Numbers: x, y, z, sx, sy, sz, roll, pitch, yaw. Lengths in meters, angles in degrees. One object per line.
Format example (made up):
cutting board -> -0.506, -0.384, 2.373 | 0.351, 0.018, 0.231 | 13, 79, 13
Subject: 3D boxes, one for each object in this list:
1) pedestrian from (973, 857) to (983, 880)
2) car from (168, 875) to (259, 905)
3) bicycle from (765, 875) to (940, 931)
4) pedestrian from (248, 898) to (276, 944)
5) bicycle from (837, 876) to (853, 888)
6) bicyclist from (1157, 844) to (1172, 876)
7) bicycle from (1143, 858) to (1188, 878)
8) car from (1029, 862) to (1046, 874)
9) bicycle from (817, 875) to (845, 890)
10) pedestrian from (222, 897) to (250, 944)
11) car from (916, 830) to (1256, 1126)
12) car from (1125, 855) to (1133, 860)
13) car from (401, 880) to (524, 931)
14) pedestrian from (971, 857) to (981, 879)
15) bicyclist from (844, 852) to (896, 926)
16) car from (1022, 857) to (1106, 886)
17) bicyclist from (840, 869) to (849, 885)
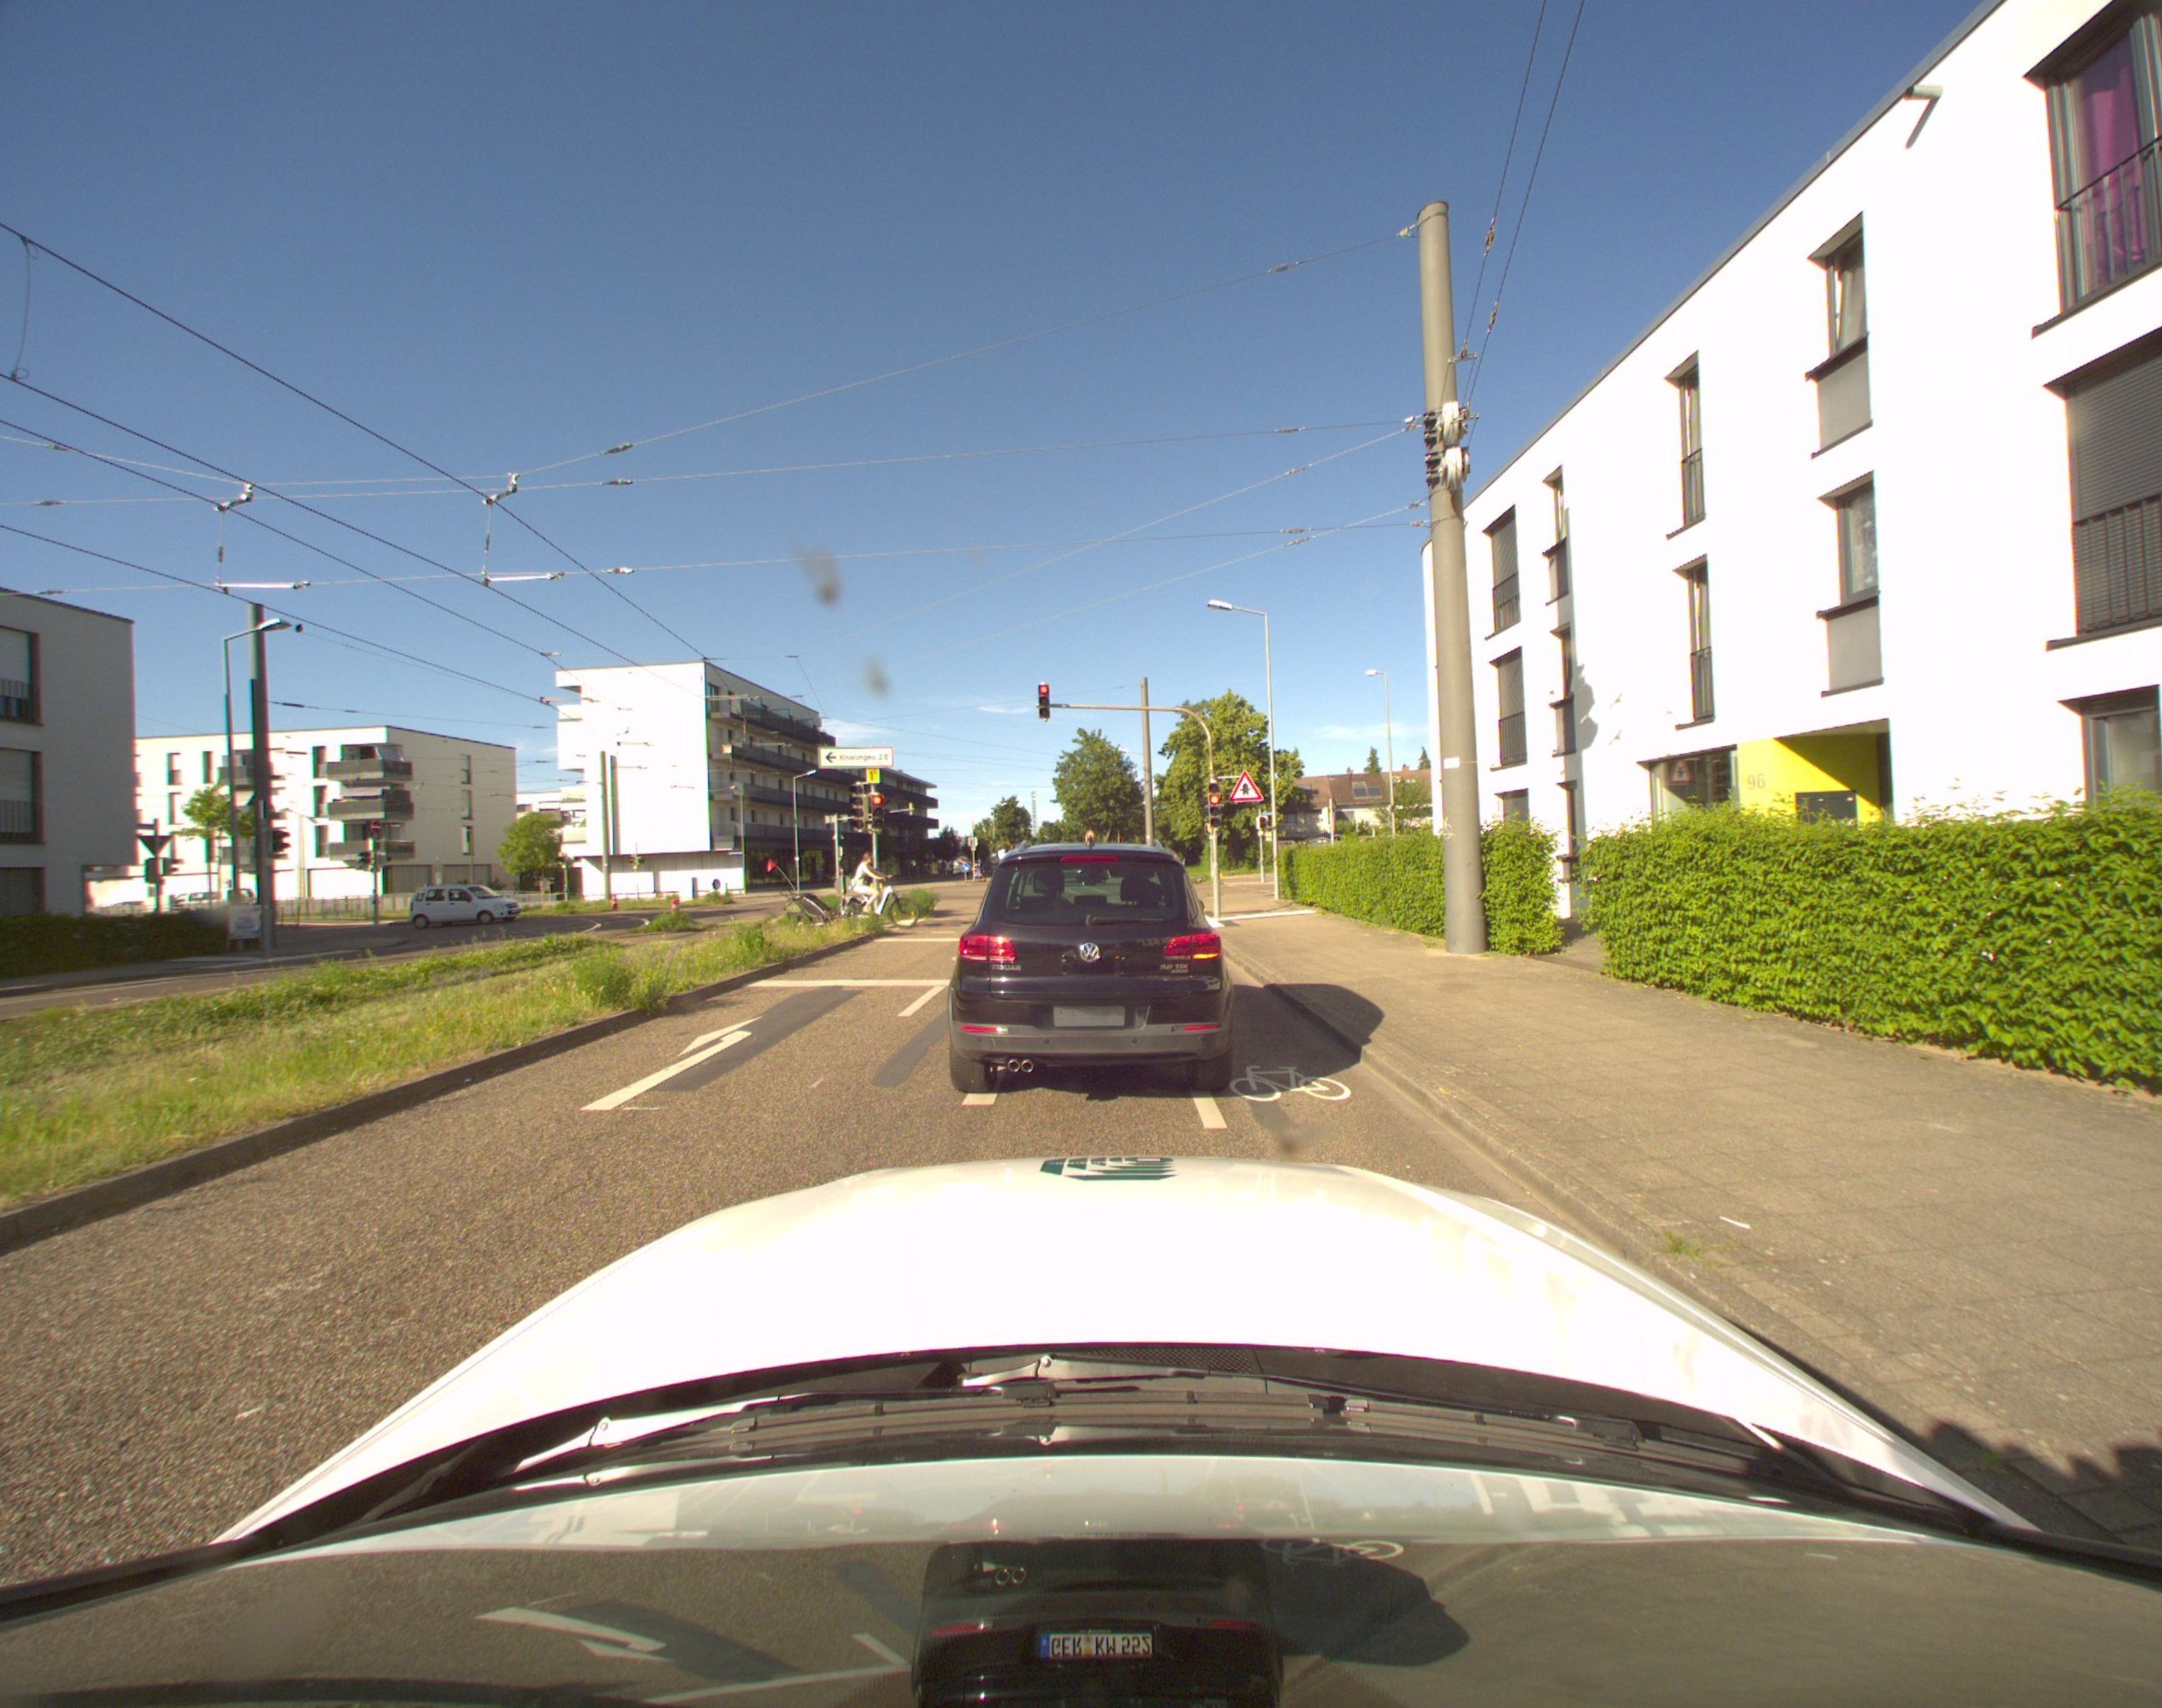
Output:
pedestrian -> -7.608, 1.072, 60.391 | 0.600, 1.640, 0.530 | -1, 0, 6
car -> -58.714, 2.422, 55.178 | 3.974, 1.838, 2.000 | -1, 0, 0
bicycle -> -5.162, 1.100, 18.578 | 3.670, 1.174, 0.999 | 1, 0, 0
pedestrian -> -27.131, 2.206, 26.986 | 0.561, 1.464, 0.605 | -1, 0, -36
bicycle -> -18.244, 2.131, 62.989 | 0.493, 0.848, 2.082 | -1, 0, 6
bicyclist -> 4.715, 0.350, 45.971 | 0.799, 1.807, 0.685 | -1, 0, 5
bicycle -> 4.779, 0.784, 45.947 | 2.492, 1.059, 0.777 | -1, 0, 4
car -> -5.814, 1.861, 109.132 | 1.648, 1.640, 4.004 | -1, 0, 4
bicycle -> -18.485, 2.107, 60.292 | 0.958, 1.085, 1.845 | -1, 0, 25
pedestrian -> -27.648, 2.163, 26.658 | 0.562, 1.464, 0.734 | -1, 0, -40
car -> 0.049, 0.700, 6.609 | 1.899, 1.643, 4.000 | -1, 0, 0
car -> 12.031, 0.871, 202.591 | 1.745, 1.387, 4.000 | -1, 0, 0
car -> -24.560, 2.019, 32.430 | 3.487, 1.652, 1.589 | -4, 0, -7
pedestrian -> -7.681, 1.029, 59.827 | 0.600, 1.565, 0.530 | -1, 0, 6
bicyclist -> -4.801, 0.769, 18.605 | 0.906, 1.630, 0.976 | -1, 0, 1
car -> -0.909, 0.993, 45.723 | 4.474, 1.504, 2.003 | -1, 0, 6
bicyclist -> -18.262, 1.754, 62.905 | 0.472, 1.223, 0.713 | -1, 0, 5
